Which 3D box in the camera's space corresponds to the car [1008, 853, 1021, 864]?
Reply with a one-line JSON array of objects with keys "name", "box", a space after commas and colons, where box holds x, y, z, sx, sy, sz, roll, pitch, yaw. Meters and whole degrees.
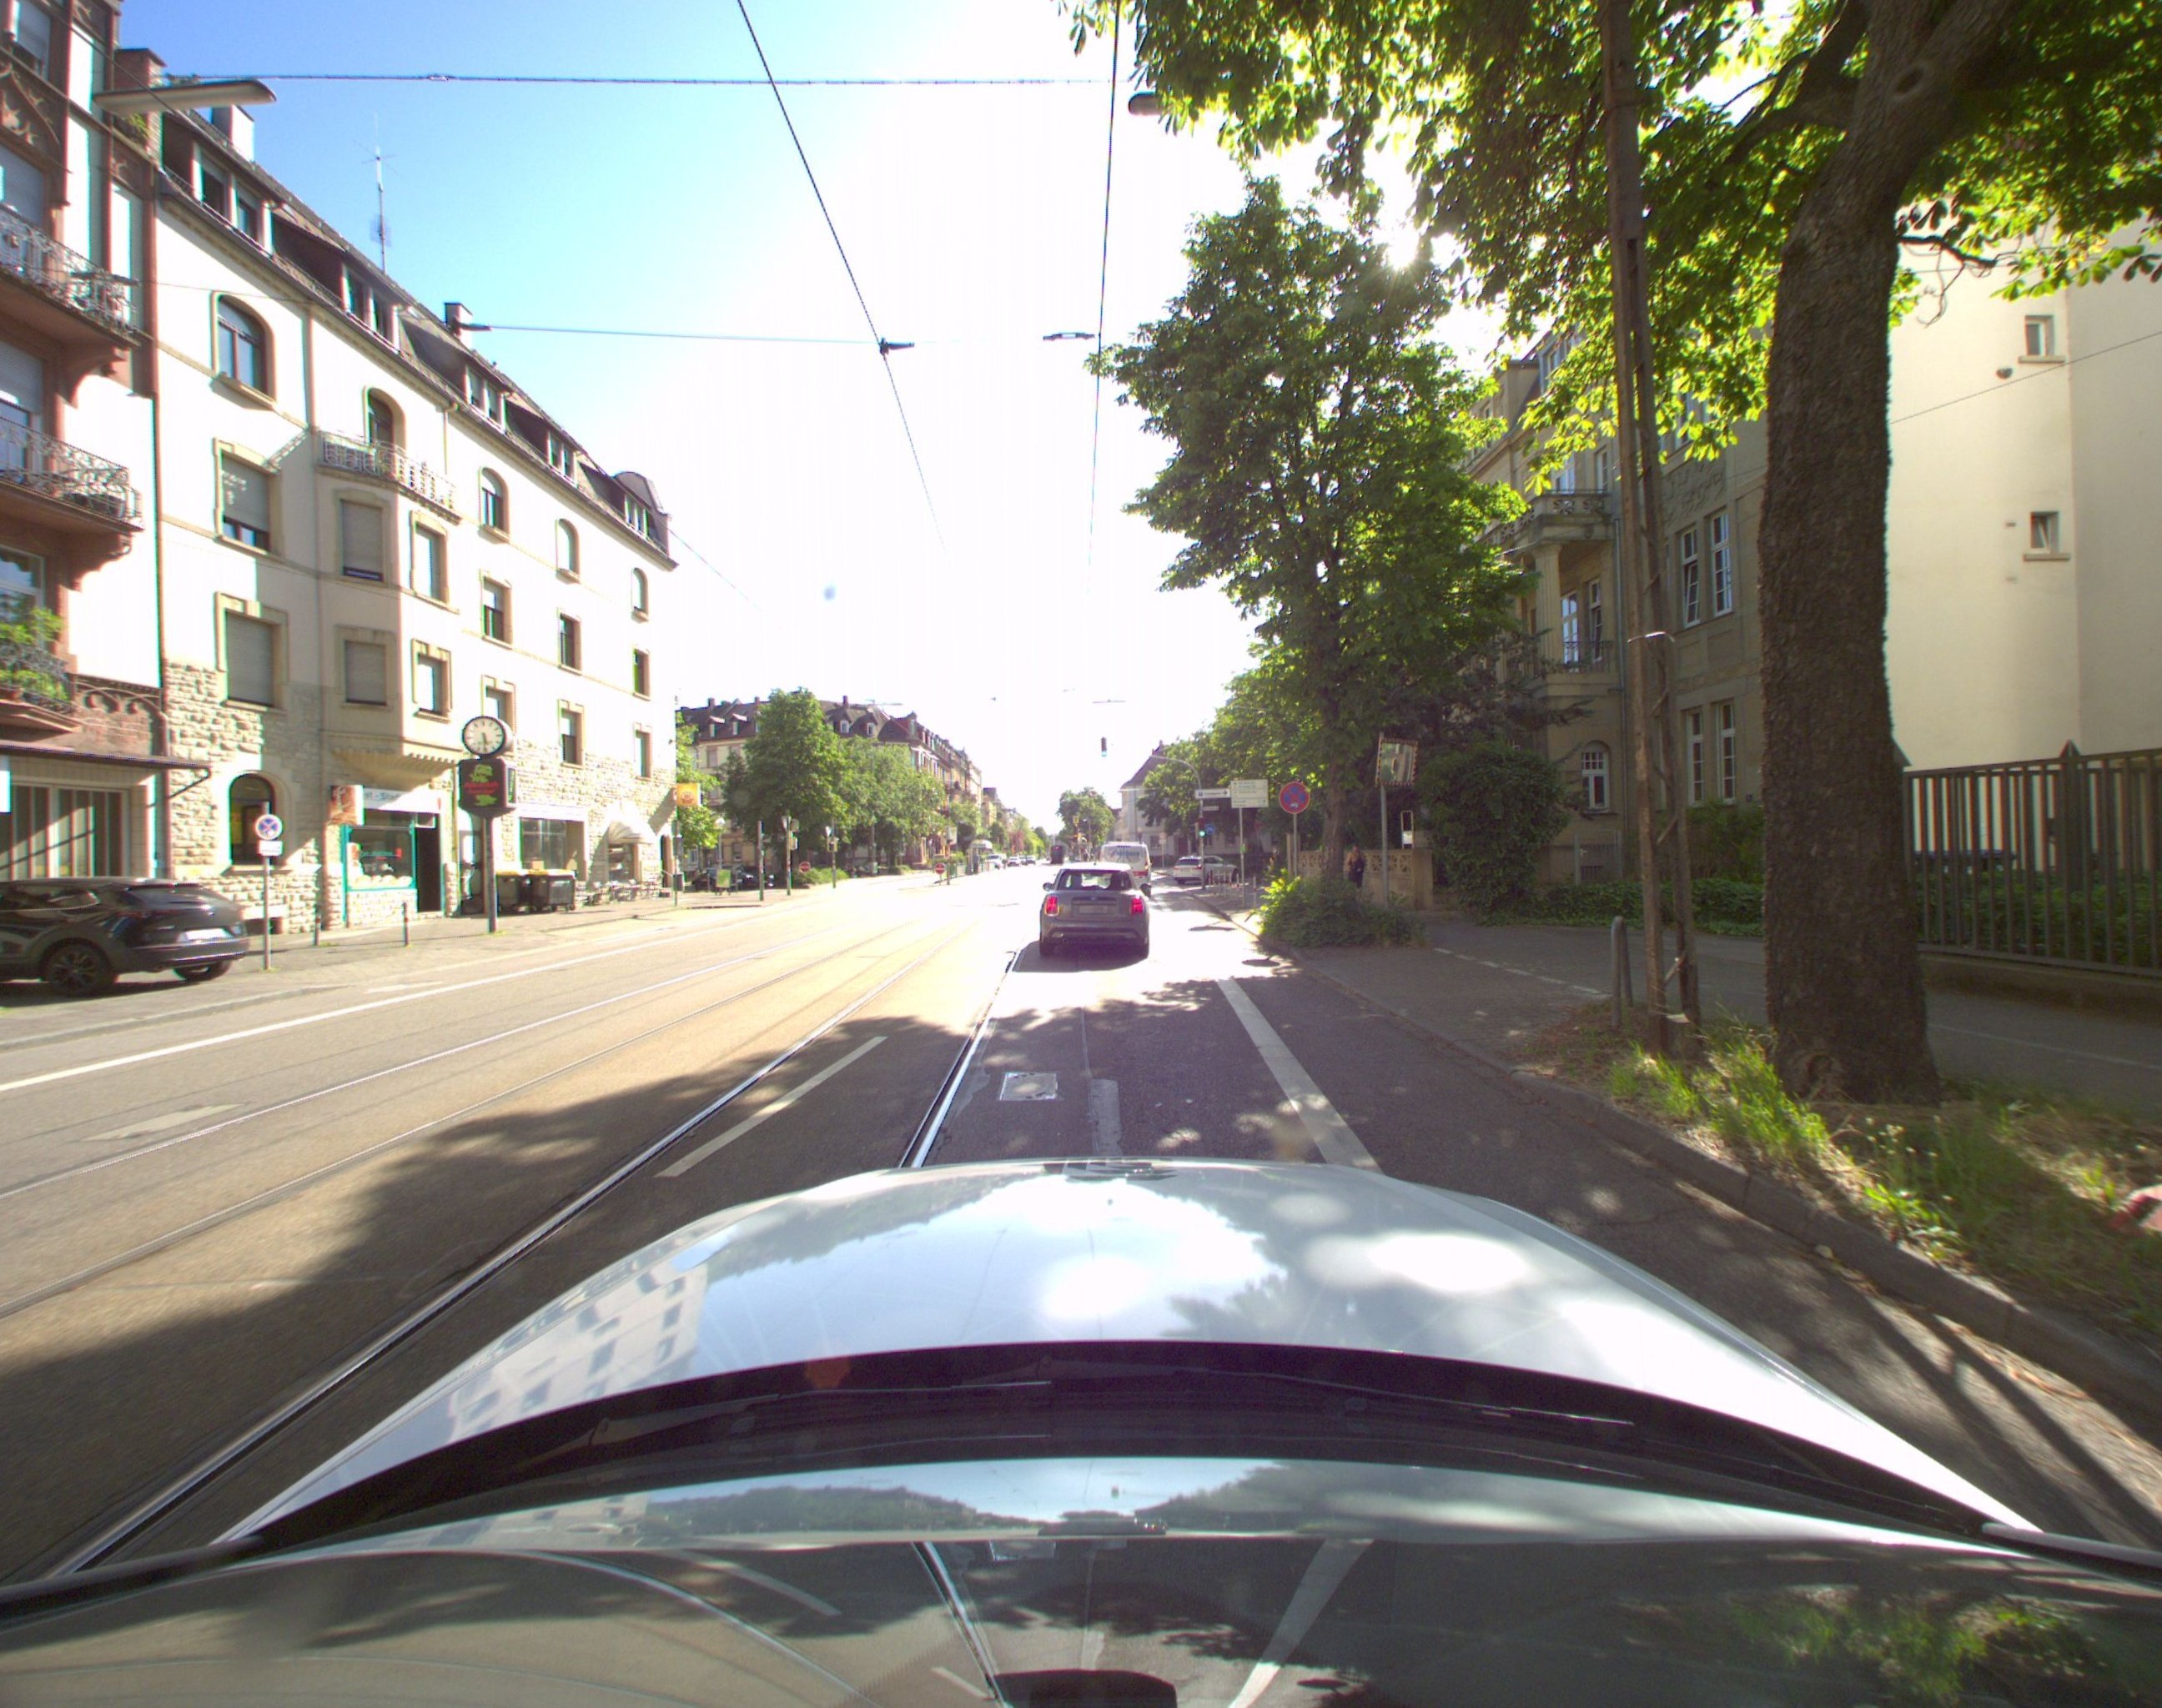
[{"name": "car", "box": [-9.796, 0.716, 119.799, 1.771, 1.618, 3.996, 0, -1, -2]}]

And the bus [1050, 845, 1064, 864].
[{"name": "bus", "box": [-4.670, 0.151, 157.731, 2.380, 3.496, 7.375, 0, -1, -3]}]

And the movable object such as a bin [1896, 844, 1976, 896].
[{"name": "movable object such as a bin", "box": [16.133, 0.298, 15.383, 0.831, 0.955, 0.648, 0, -1, -1]}]

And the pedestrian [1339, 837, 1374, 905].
[{"name": "pedestrian", "box": [6.957, 0.427, 20.577, 0.590, 1.671, 0.647, -3, -1, 0]}]

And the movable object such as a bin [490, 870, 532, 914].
[{"name": "movable object such as a bin", "box": [-17.495, 1.165, 25.005, 0.849, 1.325, 0.659, -1, -1, 11]}]

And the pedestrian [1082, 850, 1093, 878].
[{"name": "pedestrian", "box": [0.449, 0.735, 59.590, 0.793, 2.014, 0.740, 0, -1, -1]}]

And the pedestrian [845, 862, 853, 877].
[{"name": "pedestrian", "box": [-18.577, 1.226, 65.203, 0.579, 1.201, 0.604, -2, 0, -21]}]

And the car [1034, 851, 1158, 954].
[{"name": "car", "box": [0.255, 0.733, 13.948, 1.809, 1.488, 4.000, 0, -1, 1]}]

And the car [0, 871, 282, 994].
[{"name": "car", "box": [-14.082, 1.039, 11.282, 3.982, 1.503, 1.768, 1, -1, -6]}]

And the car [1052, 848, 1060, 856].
[{"name": "car", "box": [-5.623, -0.417, 183.052, 1.859, 1.563, 3.996, 0, -1, -2]}]

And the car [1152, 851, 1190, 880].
[{"name": "car", "box": [5.600, 0.725, 50.950, 1.986, 1.706, 4.001, 0, -1, 1]}]

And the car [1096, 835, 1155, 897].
[{"name": "car", "box": [1.630, 0.460, 31.507, 2.111, 2.208, 4.945, 0, -1, 1]}]

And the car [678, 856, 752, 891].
[{"name": "car", "box": [-21.468, 1.125, 47.731, 3.949, 2.014, 2.012, -1, -1, 29]}]

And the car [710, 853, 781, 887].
[{"name": "car", "box": [-20.588, 0.968, 50.009, 3.949, 2.014, 2.012, -1, -1, 29]}]

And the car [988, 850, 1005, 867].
[{"name": "car", "box": [-10.601, 0.579, 102.572, 1.991, 2.014, 5.019, 0, -1, -6]}]

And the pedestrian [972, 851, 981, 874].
[{"name": "pedestrian", "box": [-8.252, 0.635, 64.491, 0.579, 1.795, 0.604, -2, 0, -17]}]

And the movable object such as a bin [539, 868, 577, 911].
[{"name": "movable object such as a bin", "box": [-17.216, 1.159, 26.814, 0.862, 1.381, 1.015, 0, -1, -45]}]

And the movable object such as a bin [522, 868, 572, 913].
[{"name": "movable object such as a bin", "box": [-16.842, 1.137, 25.704, 0.849, 1.381, 1.031, -1, -1, 12]}]

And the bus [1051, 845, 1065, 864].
[{"name": "bus", "box": [-4.251, 0.098, 150.311, 2.380, 3.496, 7.375, 0, -1, -3]}]

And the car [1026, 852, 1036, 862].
[{"name": "car", "box": [-8.853, 0.565, 144.170, 1.771, 1.618, 3.996, 0, -1, -2]}]

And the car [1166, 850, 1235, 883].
[{"name": "car", "box": [6.271, 0.638, 42.262, 1.974, 1.618, 4.025, -1, -1, 34]}]

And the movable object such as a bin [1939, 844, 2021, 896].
[{"name": "movable object such as a bin", "box": [16.998, 0.291, 15.408, 0.831, 0.955, 0.648, 0, -1, -1]}]

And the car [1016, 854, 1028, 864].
[{"name": "car", "box": [-9.194, 0.803, 127.949, 1.771, 1.618, 3.996, 0, -1, -2]}]
